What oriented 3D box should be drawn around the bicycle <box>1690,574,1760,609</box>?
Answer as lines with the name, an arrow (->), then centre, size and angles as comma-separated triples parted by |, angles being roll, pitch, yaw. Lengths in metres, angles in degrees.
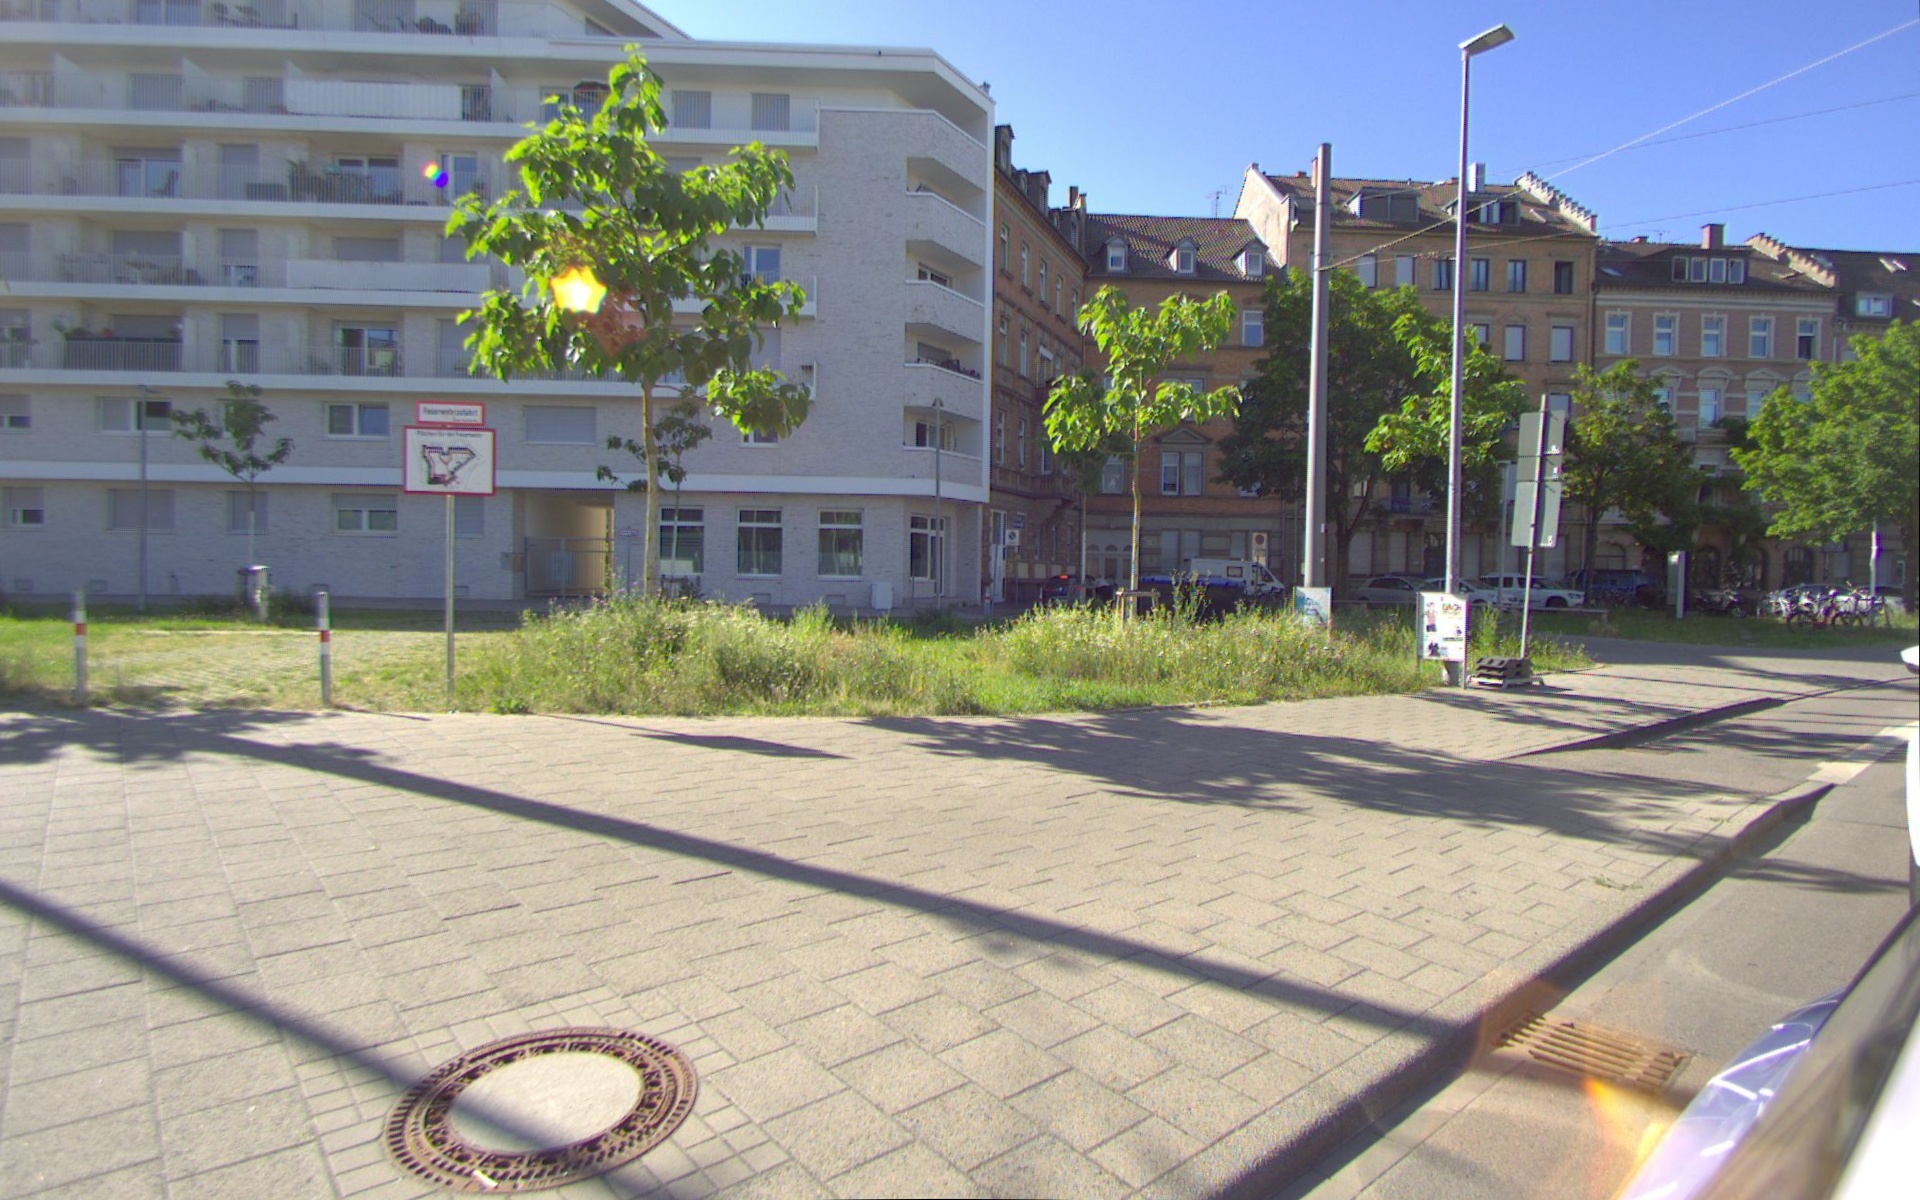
bicycle -> 28.363, -0.316, 37.570 | 0.649, 1.284, 2.208 | 0, 0, -11

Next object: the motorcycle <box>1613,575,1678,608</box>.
motorcycle -> 27.481, -0.340, 40.616 | 0.649, 1.284, 2.209 | 0, 0, -18

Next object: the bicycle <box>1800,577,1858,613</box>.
bicycle -> 32.028, -0.198, 37.339 | 0.653, 1.284, 2.196 | 0, 0, 12

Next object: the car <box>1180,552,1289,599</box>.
car -> 12.653, -1.160, 46.787 | 4.416, 2.062, 2.054 | 1, 2, 0

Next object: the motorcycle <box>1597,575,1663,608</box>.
motorcycle -> 26.690, -0.342, 40.362 | 0.649, 1.300, 2.324 | 0, 0, -18

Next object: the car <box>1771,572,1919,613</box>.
car -> 34.679, -0.326, 39.597 | 1.651, 1.423, 4.324 | -1, 3, -38

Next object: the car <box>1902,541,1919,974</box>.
car -> 5.863, 0.605, 4.720 | 4.323, 1.667, 1.840 | 0, 0, -43

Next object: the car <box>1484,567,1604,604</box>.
car -> 22.322, -0.584, 38.778 | 1.513, 1.267, 3.700 | -1, 3, -39

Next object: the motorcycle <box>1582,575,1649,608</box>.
motorcycle -> 26.020, -0.334, 40.230 | 0.649, 1.293, 2.324 | 0, 0, -18

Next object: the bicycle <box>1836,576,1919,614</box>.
bicycle -> 31.623, -0.172, 34.768 | 2.180, 1.284, 0.657 | 0, 0, 25

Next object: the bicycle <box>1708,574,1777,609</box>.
bicycle -> 29.717, -0.332, 38.468 | 0.649, 1.284, 2.208 | 0, 0, -9

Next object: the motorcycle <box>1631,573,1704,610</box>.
motorcycle -> 26.147, -0.326, 37.473 | 0.649, 1.339, 2.208 | 0, 0, -23

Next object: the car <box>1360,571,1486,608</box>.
car -> 17.342, -0.427, 38.112 | 1.648, 1.267, 4.170 | 0, 3, -28

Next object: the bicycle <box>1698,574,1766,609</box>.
bicycle -> 29.074, -0.325, 38.157 | 0.649, 1.284, 2.208 | 0, 0, -9

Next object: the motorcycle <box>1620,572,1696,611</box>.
motorcycle -> 25.331, -0.312, 36.784 | 0.650, 1.347, 2.207 | 0, 0, -28

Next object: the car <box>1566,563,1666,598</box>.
car -> 30.868, -0.927, 47.655 | 3.631, 1.607, 1.552 | 1, 2, 0

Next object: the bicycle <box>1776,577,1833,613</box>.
bicycle -> 30.934, -0.191, 37.115 | 0.653, 1.284, 2.196 | 0, 0, 12

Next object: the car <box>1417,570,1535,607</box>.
car -> 19.665, -0.473, 38.722 | 1.648, 1.267, 3.709 | 0, 3, -28

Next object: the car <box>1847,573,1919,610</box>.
car -> 37.815, -0.335, 39.967 | 1.649, 1.423, 3.832 | -1, 3, -32

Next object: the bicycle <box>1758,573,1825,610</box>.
bicycle -> 29.267, -0.297, 35.678 | 0.651, 1.284, 2.202 | 0, 0, 4

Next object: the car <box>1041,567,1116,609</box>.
car -> 4.560, -0.510, 38.302 | 1.811, 1.444, 4.359 | 1, 2, 21

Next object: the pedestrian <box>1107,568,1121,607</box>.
pedestrian -> 5.765, -0.464, 37.836 | 0.500, 1.474, 0.480 | 0, 0, 11
